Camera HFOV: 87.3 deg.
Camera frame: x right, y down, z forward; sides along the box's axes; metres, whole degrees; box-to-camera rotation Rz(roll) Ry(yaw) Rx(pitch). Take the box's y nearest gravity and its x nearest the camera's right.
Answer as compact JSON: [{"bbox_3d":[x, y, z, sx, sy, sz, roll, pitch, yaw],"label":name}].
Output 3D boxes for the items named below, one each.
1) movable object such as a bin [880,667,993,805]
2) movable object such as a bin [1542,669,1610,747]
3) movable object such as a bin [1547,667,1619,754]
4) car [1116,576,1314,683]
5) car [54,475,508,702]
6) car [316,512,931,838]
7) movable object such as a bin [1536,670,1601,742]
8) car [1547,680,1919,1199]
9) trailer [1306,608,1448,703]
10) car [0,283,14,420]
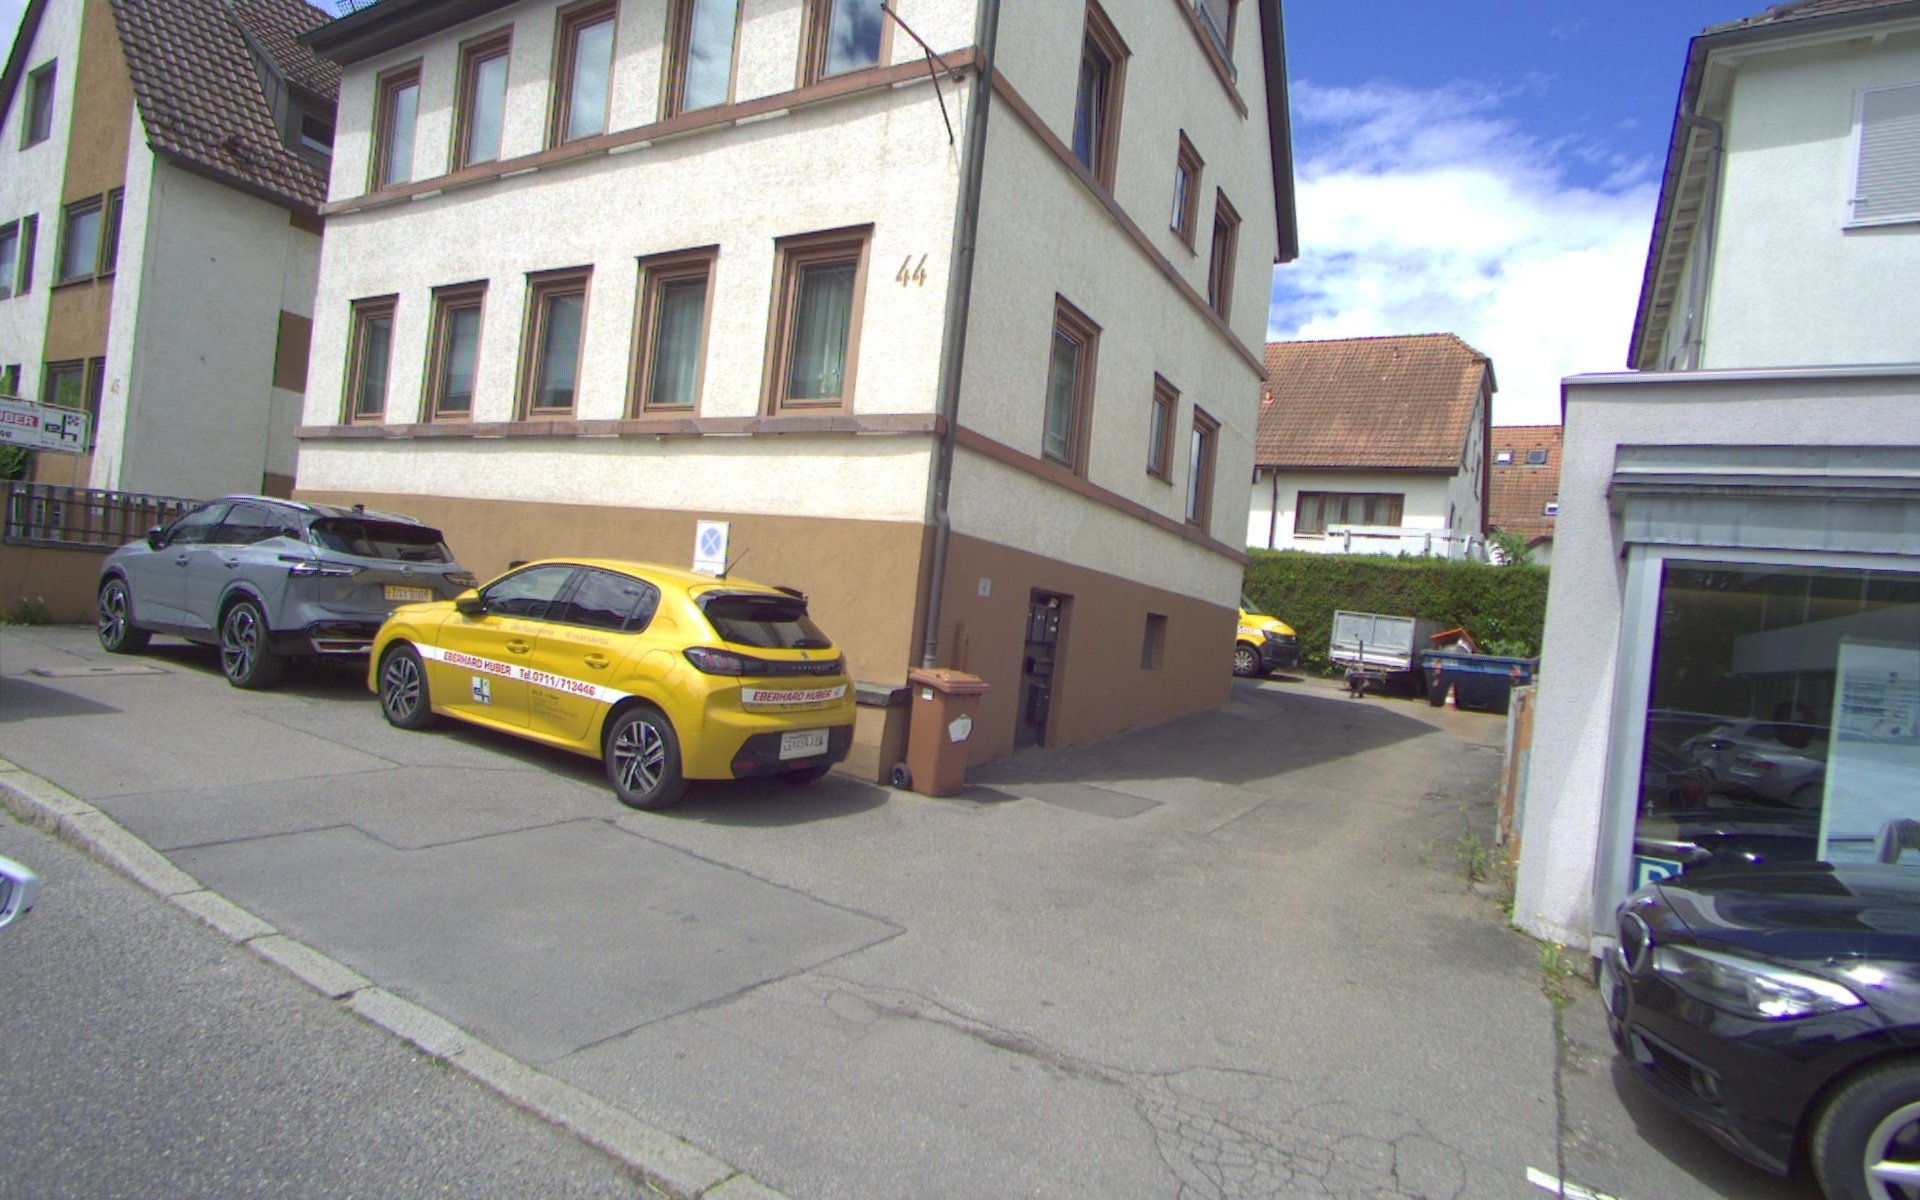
[{"bbox_3d":[-0.180,1.020,7.693,0.589,0.936,0.501,6,0,36],"label":"movable object such as a bin"},{"bbox_3d":[9.071,1.578,14.845,0.751,1.032,0.608,6,2,31],"label":"movable object such as a bin"},{"bbox_3d":[8.822,1.548,14.274,0.751,1.097,0.608,6,2,31],"label":"movable object such as a bin"},{"bbox_3d":[5.596,0.600,22.167,3.714,1.927,1.845,5,2,32],"label":"car"},{"bbox_3d":[-6.670,-0.180,9.752,4.509,1.632,1.862,6,1,31],"label":"car"},{"bbox_3d":[-2.580,0.394,7.476,4.233,1.465,1.880,9,1,30],"label":"car"},{"bbox_3d":[9.315,1.610,15.421,0.751,0.983,0.608,6,2,31],"label":"movable object such as a bin"},{"bbox_3d":[4.222,1.235,2.645,4.458,1.465,1.971,6,0,30],"label":"car"},{"bbox_3d":[8.394,1.092,20.094,1.619,1.558,3.532,7,2,37],"label":"trailer"},{"bbox_3d":[-9.138,-0.944,6.914,5.476,2.829,2.256,6,0,31],"label":"car"}]
